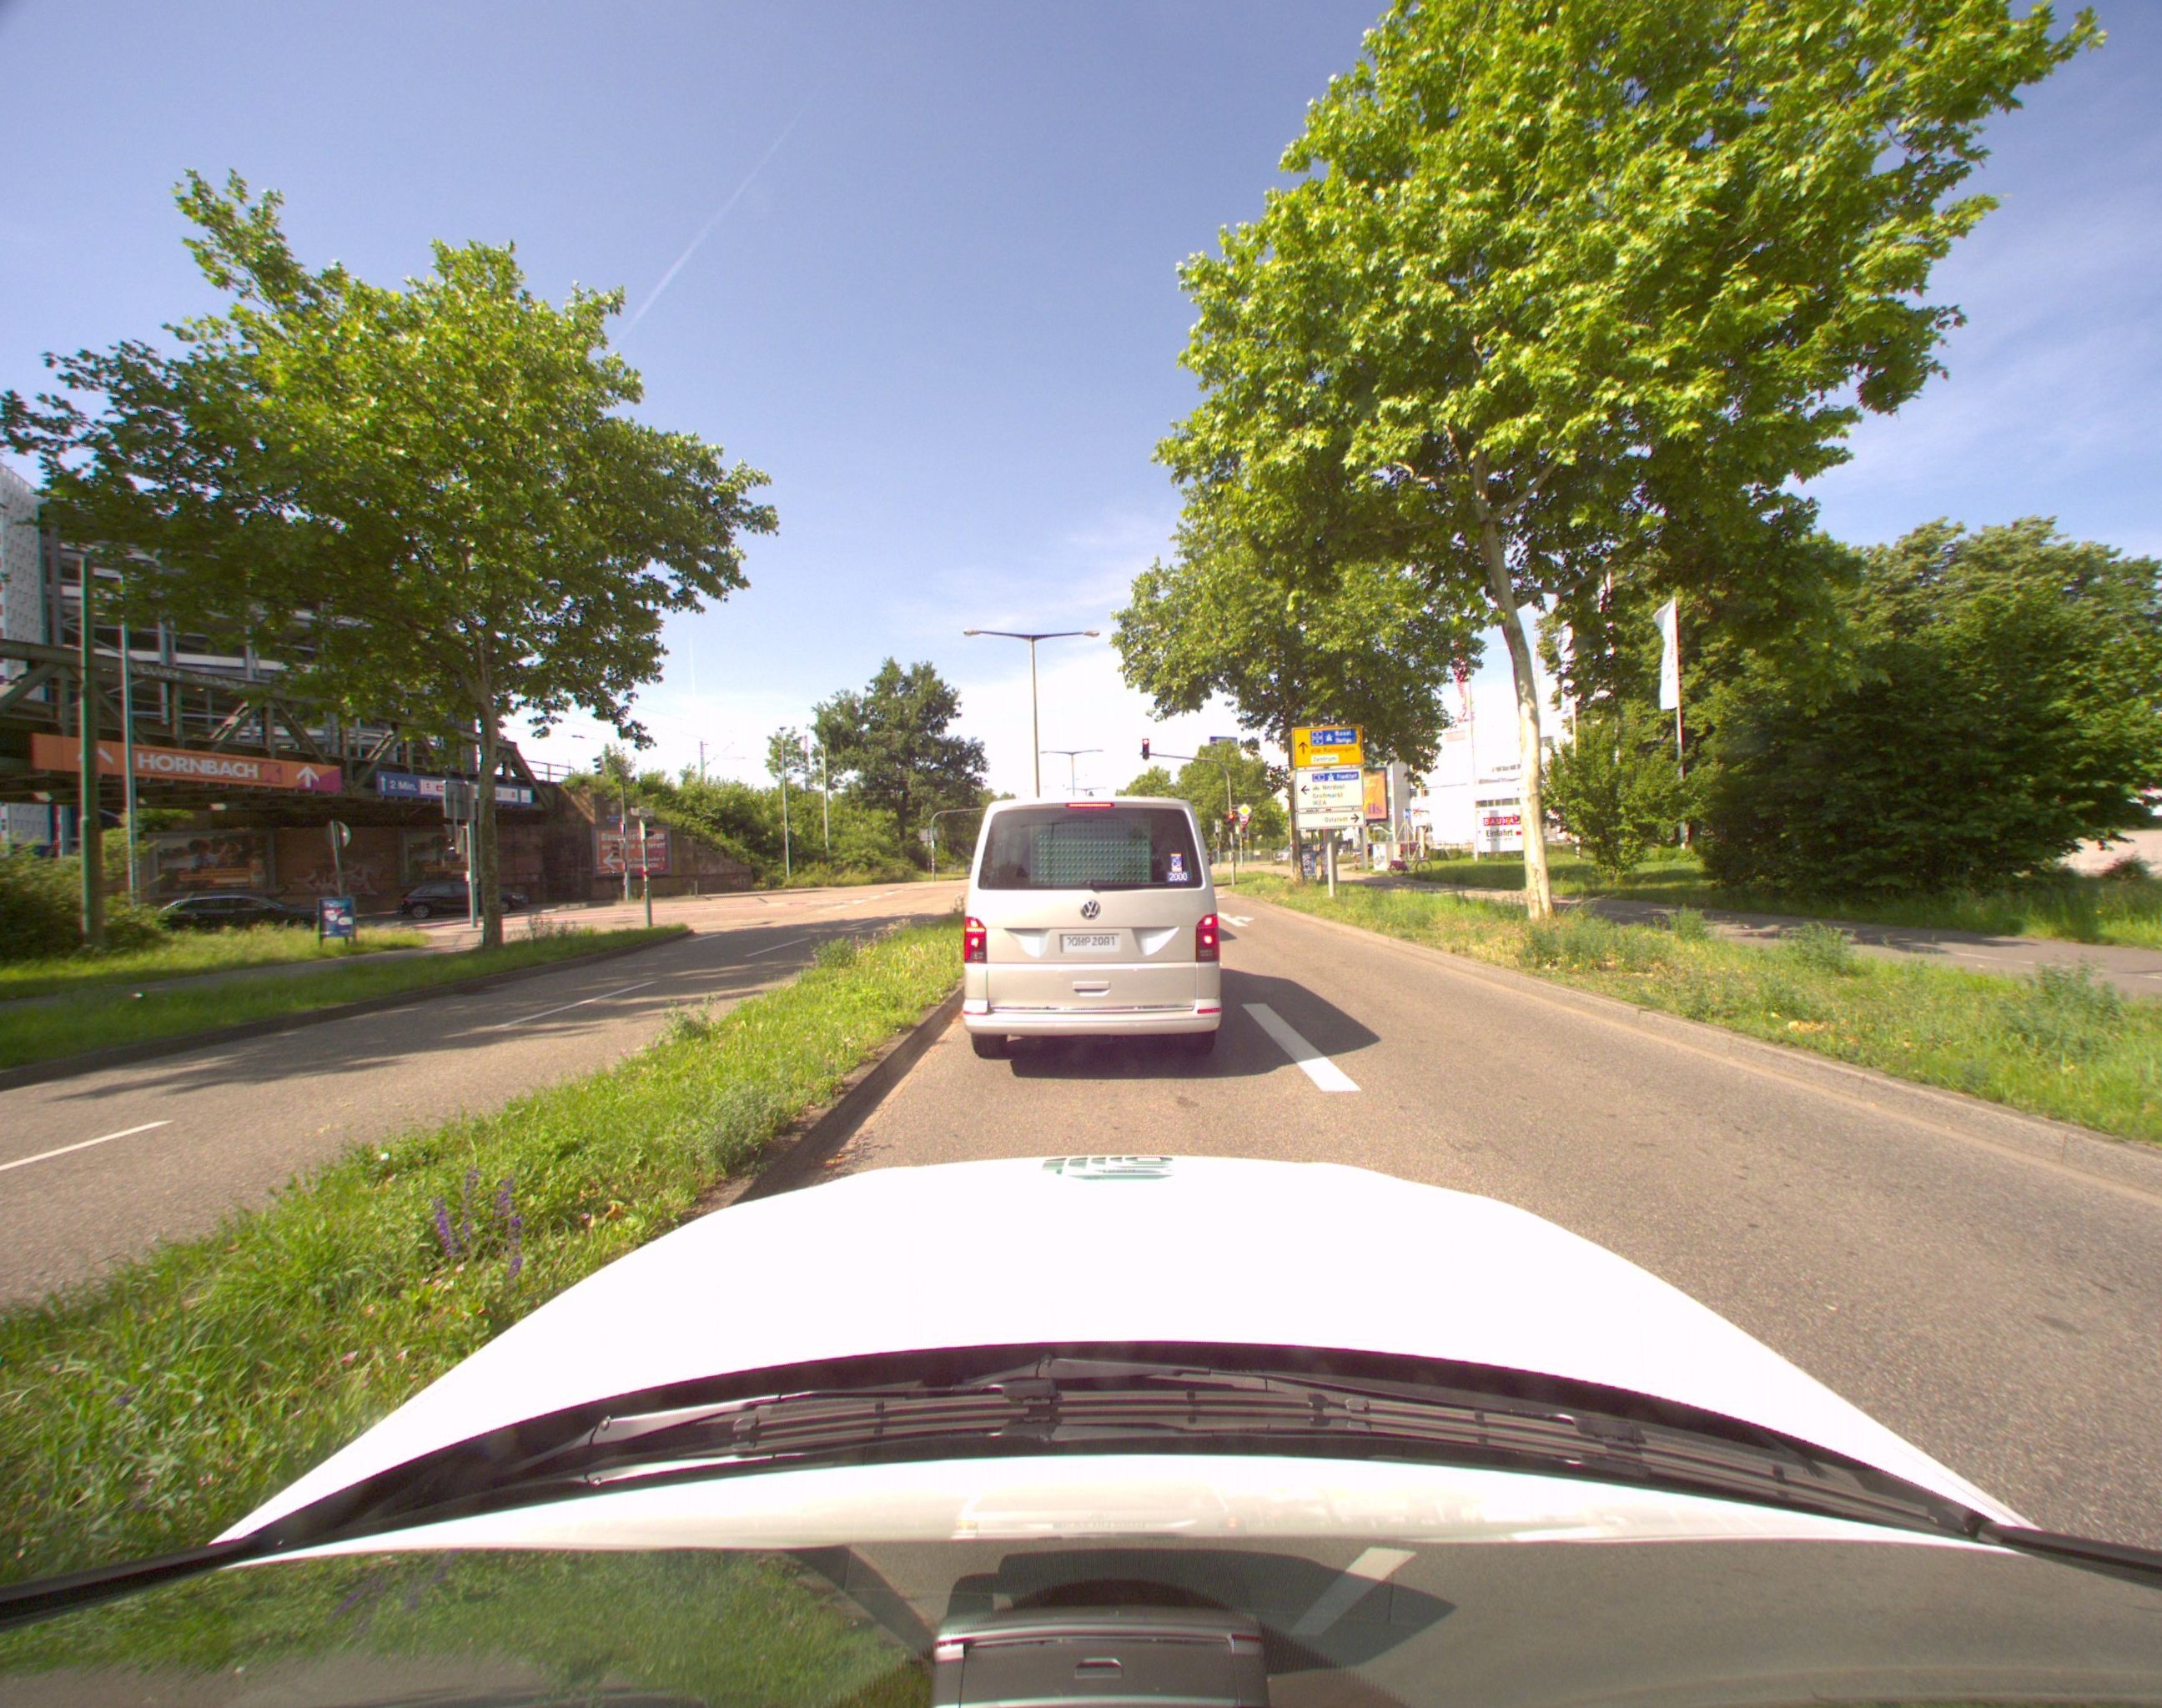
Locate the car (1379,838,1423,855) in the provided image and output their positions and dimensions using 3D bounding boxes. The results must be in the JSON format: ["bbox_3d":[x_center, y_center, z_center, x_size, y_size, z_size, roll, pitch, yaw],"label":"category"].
[{"bbox_3d":[31.990,-0.744,81.463,4.646,1.444,1.762,-3,0,-35],"label":"car"}]

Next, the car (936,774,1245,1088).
[{"bbox_3d":[0.135,0.502,7.764,1.934,1.971,5.024,-2,0,2],"label":"car"}]

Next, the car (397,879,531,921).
[{"bbox_3d":[-25.631,1.878,34.049,4.353,1.395,1.752,-3,0,-35],"label":"car"}]

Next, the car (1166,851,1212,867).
[{"bbox_3d":[11.638,0.555,87.828,4.567,1.444,1.793,-3,0,39],"label":"car"}]

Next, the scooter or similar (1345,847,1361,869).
[{"bbox_3d":[14.105,0.196,42.209,0.423,1.126,1.124,-3,0,1],"label":"scooter or similar"}]

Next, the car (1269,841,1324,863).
[{"bbox_3d":[18.166,-0.187,68.558,4.646,1.689,1.895,-3,0,-35],"label":"car"}]

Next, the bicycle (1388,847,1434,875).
[{"bbox_3d":[14.191,0.298,35.070,1.771,1.108,0.506,-4,-1,20],"label":"bicycle"}]

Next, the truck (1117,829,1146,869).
[{"bbox_3d":[5.259,-0.509,86.161,2.543,3.957,8.977,-2,0,2],"label":"truck"}]

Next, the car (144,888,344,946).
[{"bbox_3d":[-25.506,1.876,25.036,3.959,1.481,1.804,-1,-1,-34],"label":"car"}]
